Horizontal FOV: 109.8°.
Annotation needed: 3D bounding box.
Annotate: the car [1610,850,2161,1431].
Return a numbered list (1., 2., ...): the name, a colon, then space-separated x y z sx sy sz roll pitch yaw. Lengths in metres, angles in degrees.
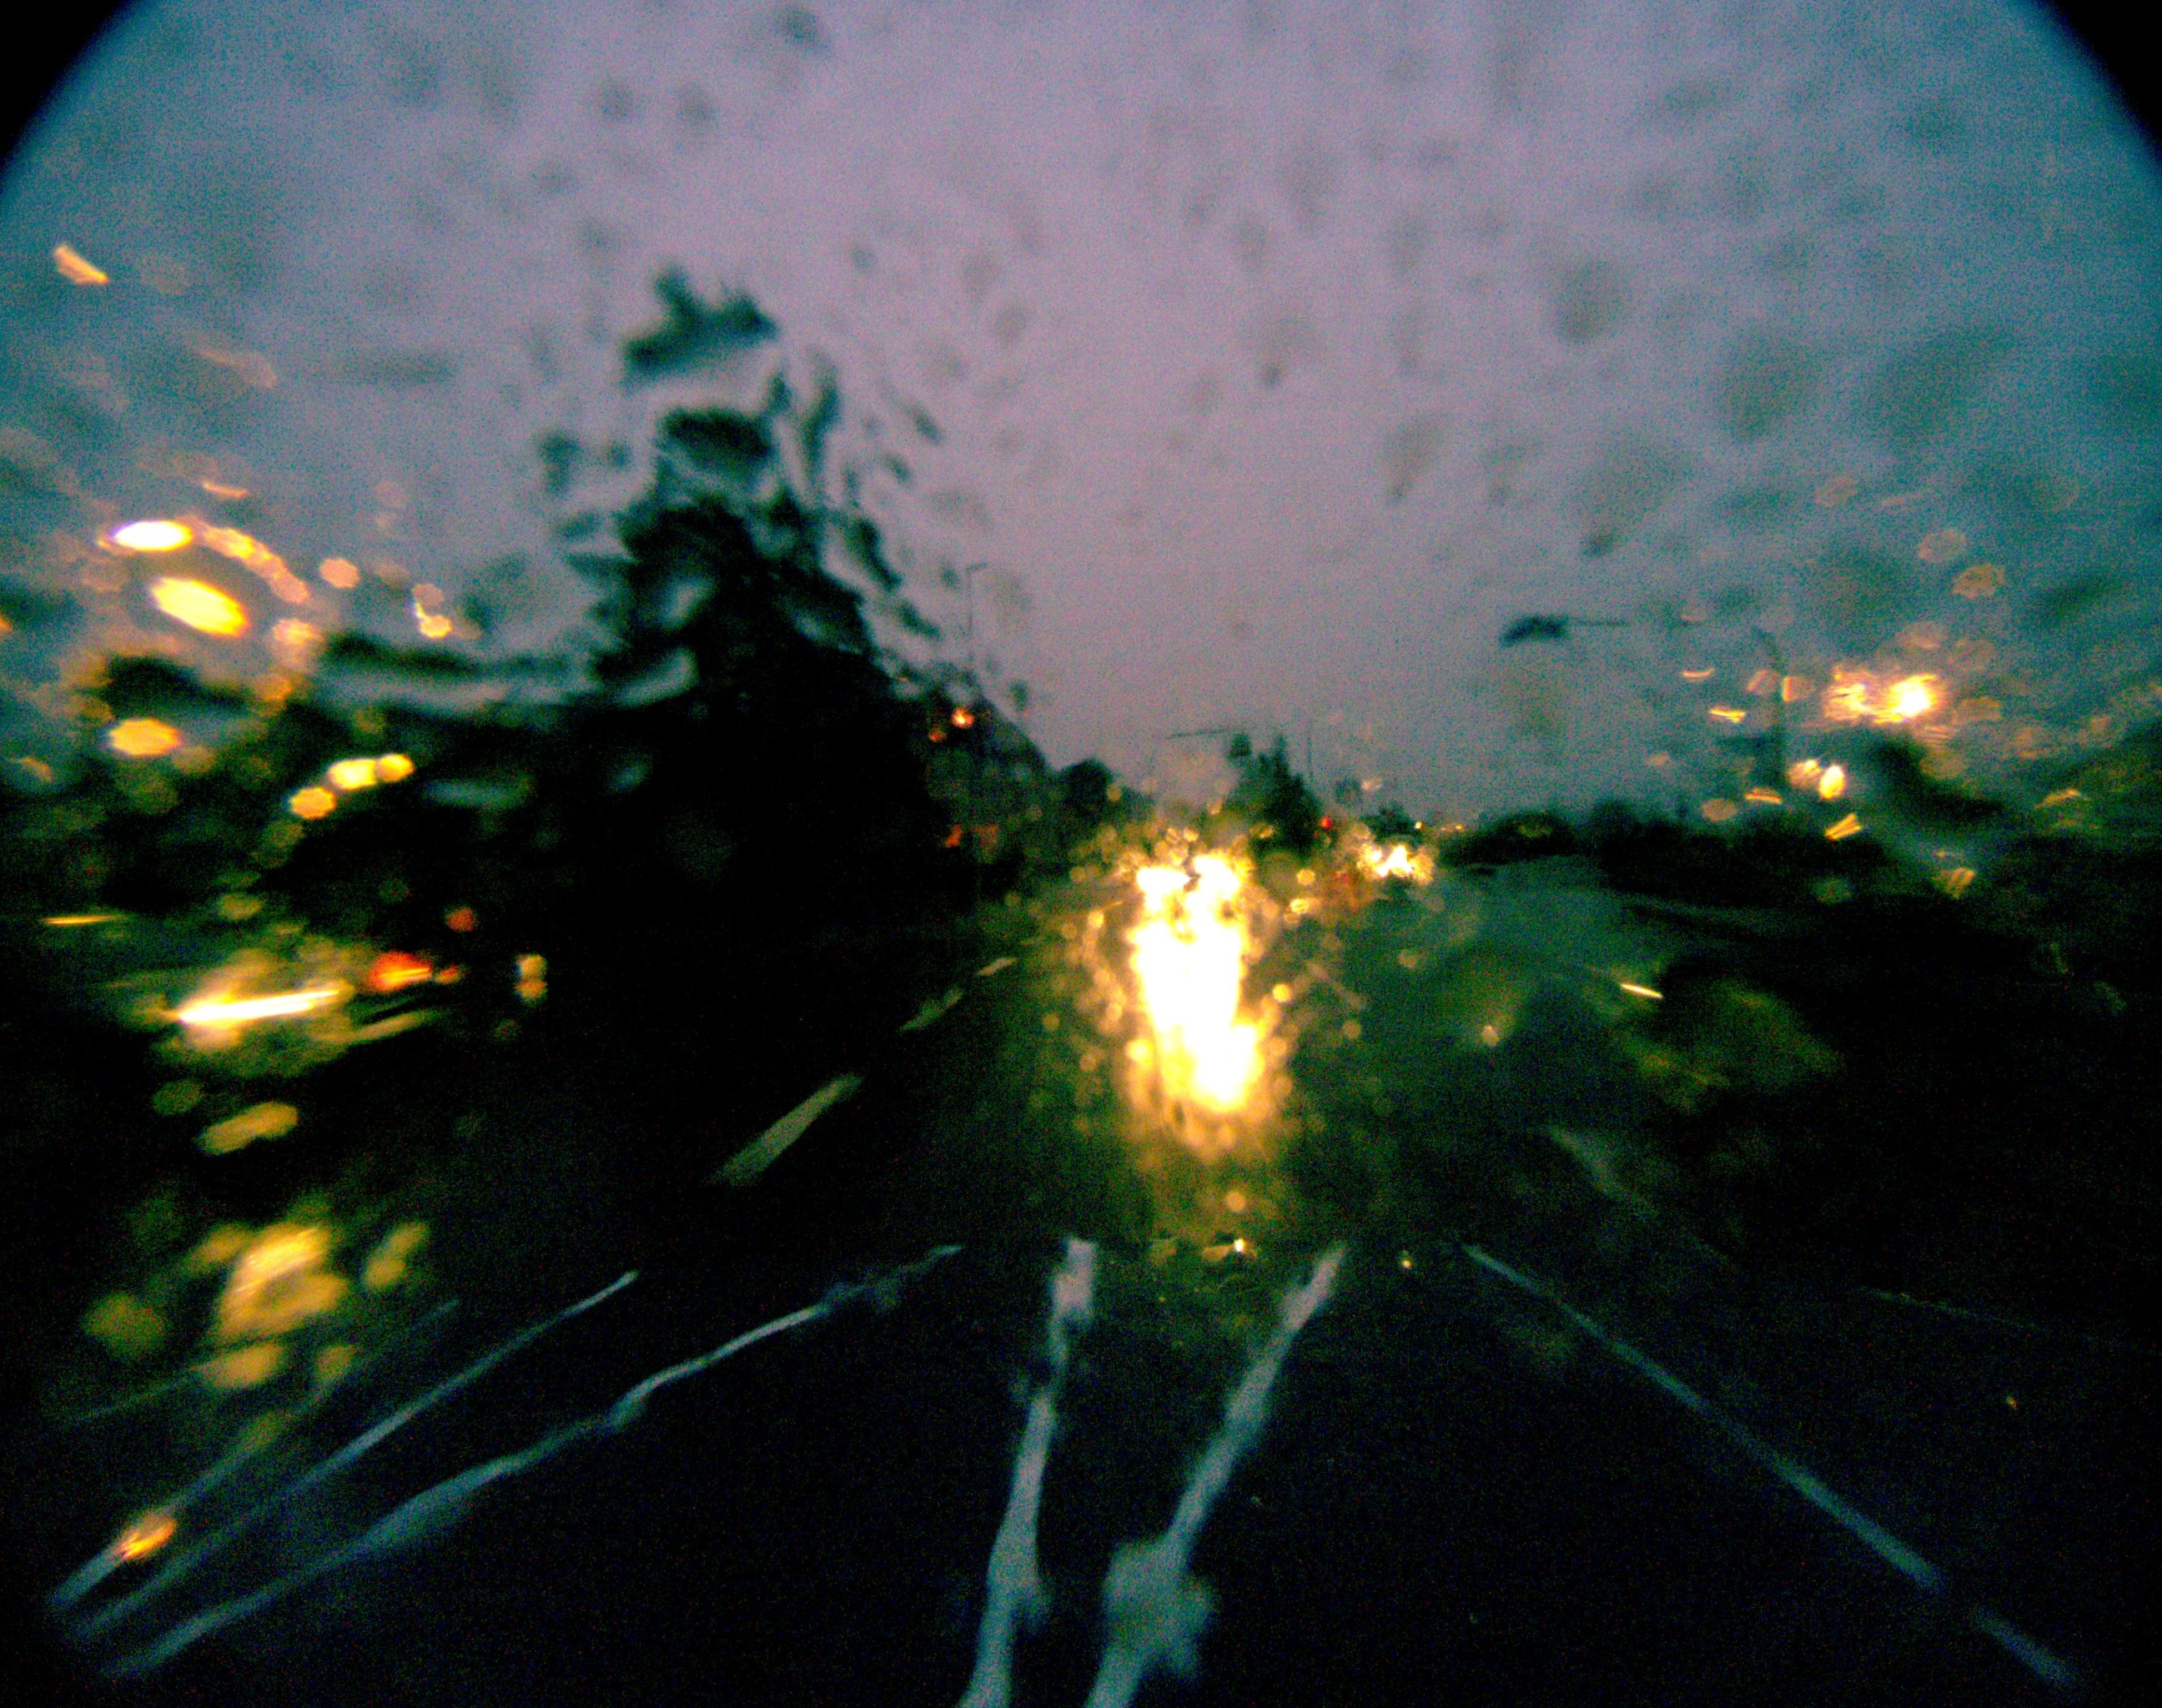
1. car: 3.699 0.767 2.259 1.666 1.477 4.000 -1 1 4

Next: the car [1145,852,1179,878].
1. car: 4.748 0.602 44.224 1.775 1.422 3.799 -2 0 9

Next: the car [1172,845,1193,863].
1. car: 10.321 -0.014 77.077 1.946 1.795 4.175 -1 0 8

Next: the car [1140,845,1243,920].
1. car: 2.878 0.605 18.903 1.773 1.632 4.427 -1 1 18

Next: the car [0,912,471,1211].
1. car: -6.873 1.289 4.879 4.184 1.432 1.796 -3 0 -10

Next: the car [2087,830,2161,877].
1. car: 36.671 -0.008 24.542 1.891 1.528 4.648 -1 1 -12

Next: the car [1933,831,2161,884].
1. car: 31.290 0.062 24.548 1.689 1.528 4.779 -1 1 -12

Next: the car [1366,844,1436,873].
1. car: 17.339 0.225 41.096 4.008 1.464 1.994 -2 1 -42
